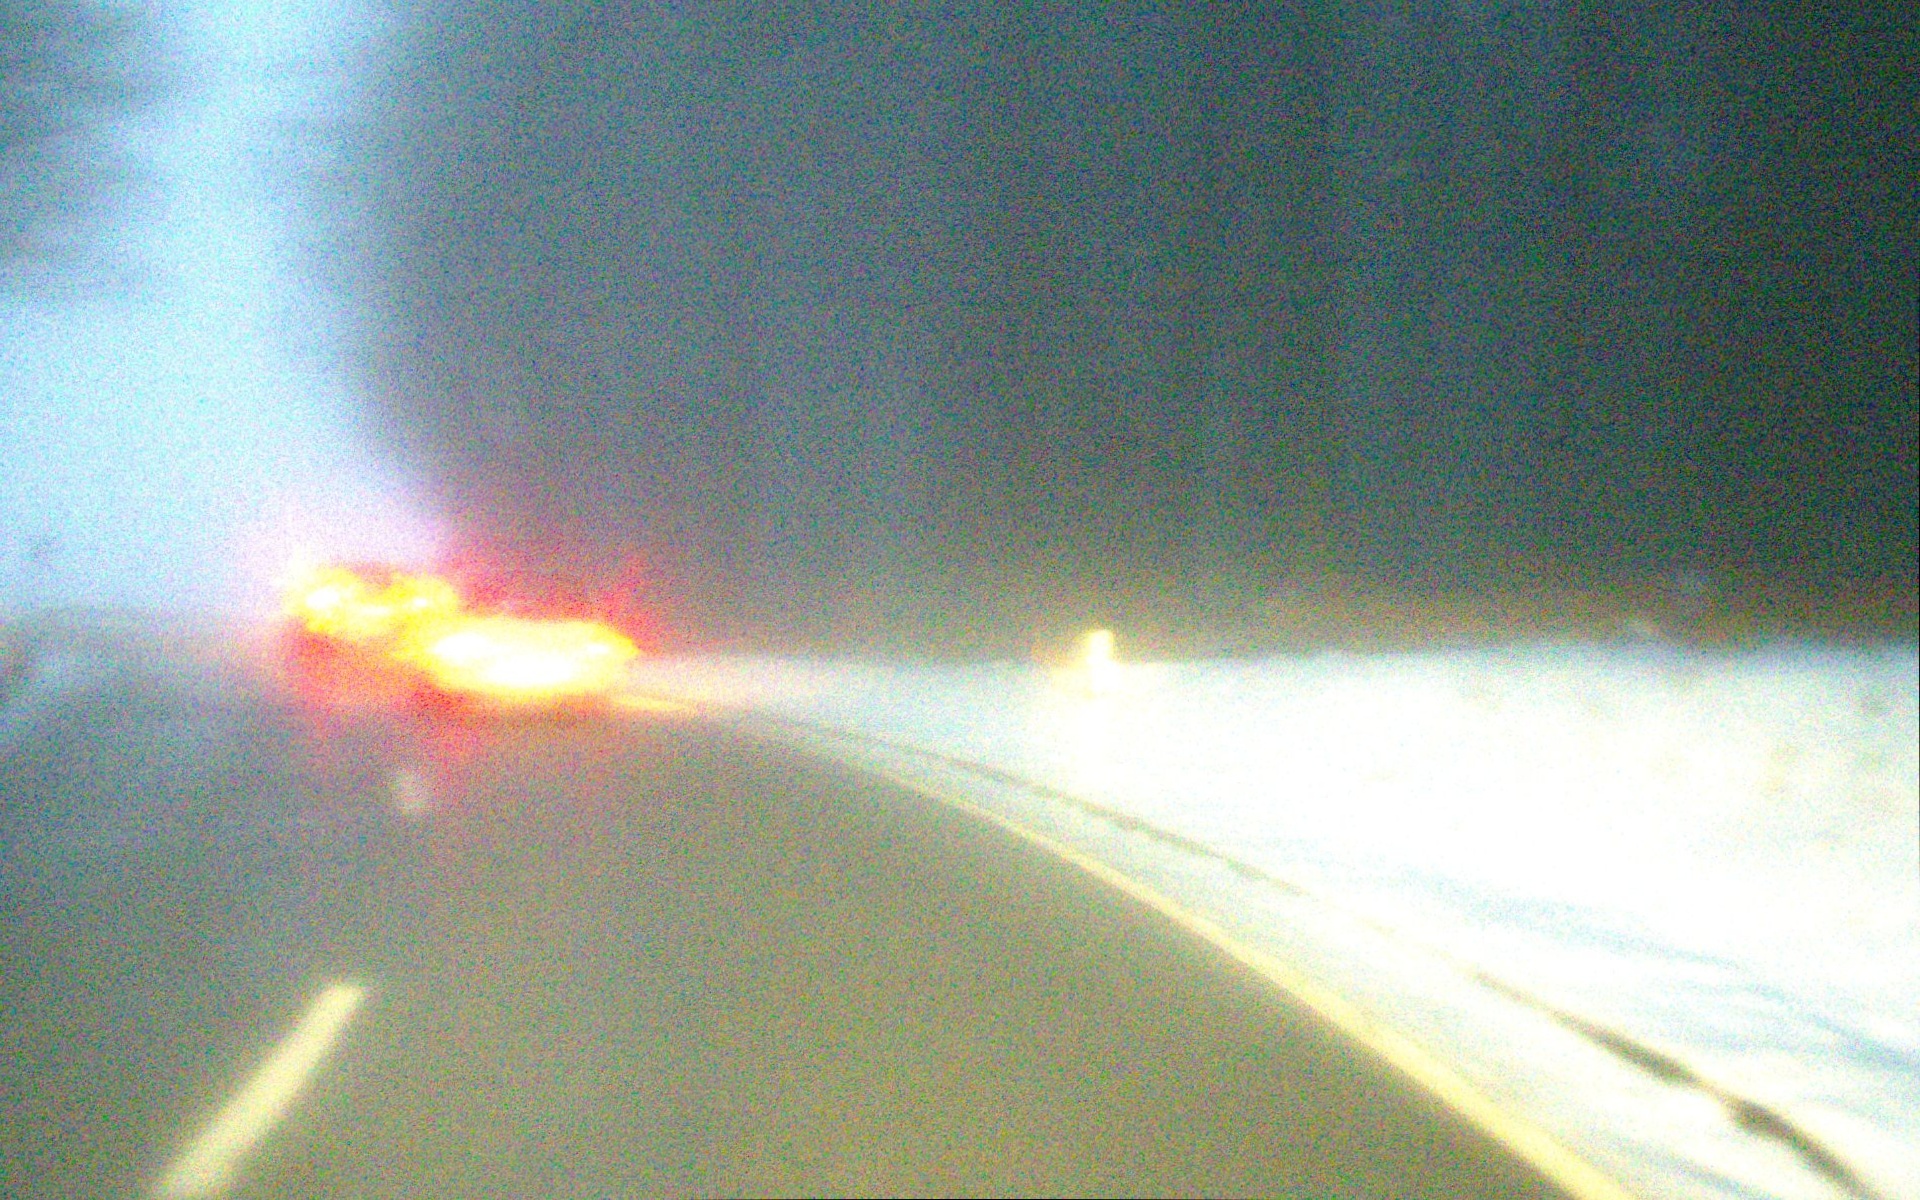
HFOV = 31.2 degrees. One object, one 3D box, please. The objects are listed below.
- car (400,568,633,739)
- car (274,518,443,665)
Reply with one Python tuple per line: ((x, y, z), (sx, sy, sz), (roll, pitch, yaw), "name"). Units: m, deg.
((-4.184, 0.471, 32.338), (1.945, 1.376, 4.001), (4, -1, -8), "car")
((-8.438, -0.107, 48.006), (1.993, 1.777, 4.001), (6, -1, -12), "car")
